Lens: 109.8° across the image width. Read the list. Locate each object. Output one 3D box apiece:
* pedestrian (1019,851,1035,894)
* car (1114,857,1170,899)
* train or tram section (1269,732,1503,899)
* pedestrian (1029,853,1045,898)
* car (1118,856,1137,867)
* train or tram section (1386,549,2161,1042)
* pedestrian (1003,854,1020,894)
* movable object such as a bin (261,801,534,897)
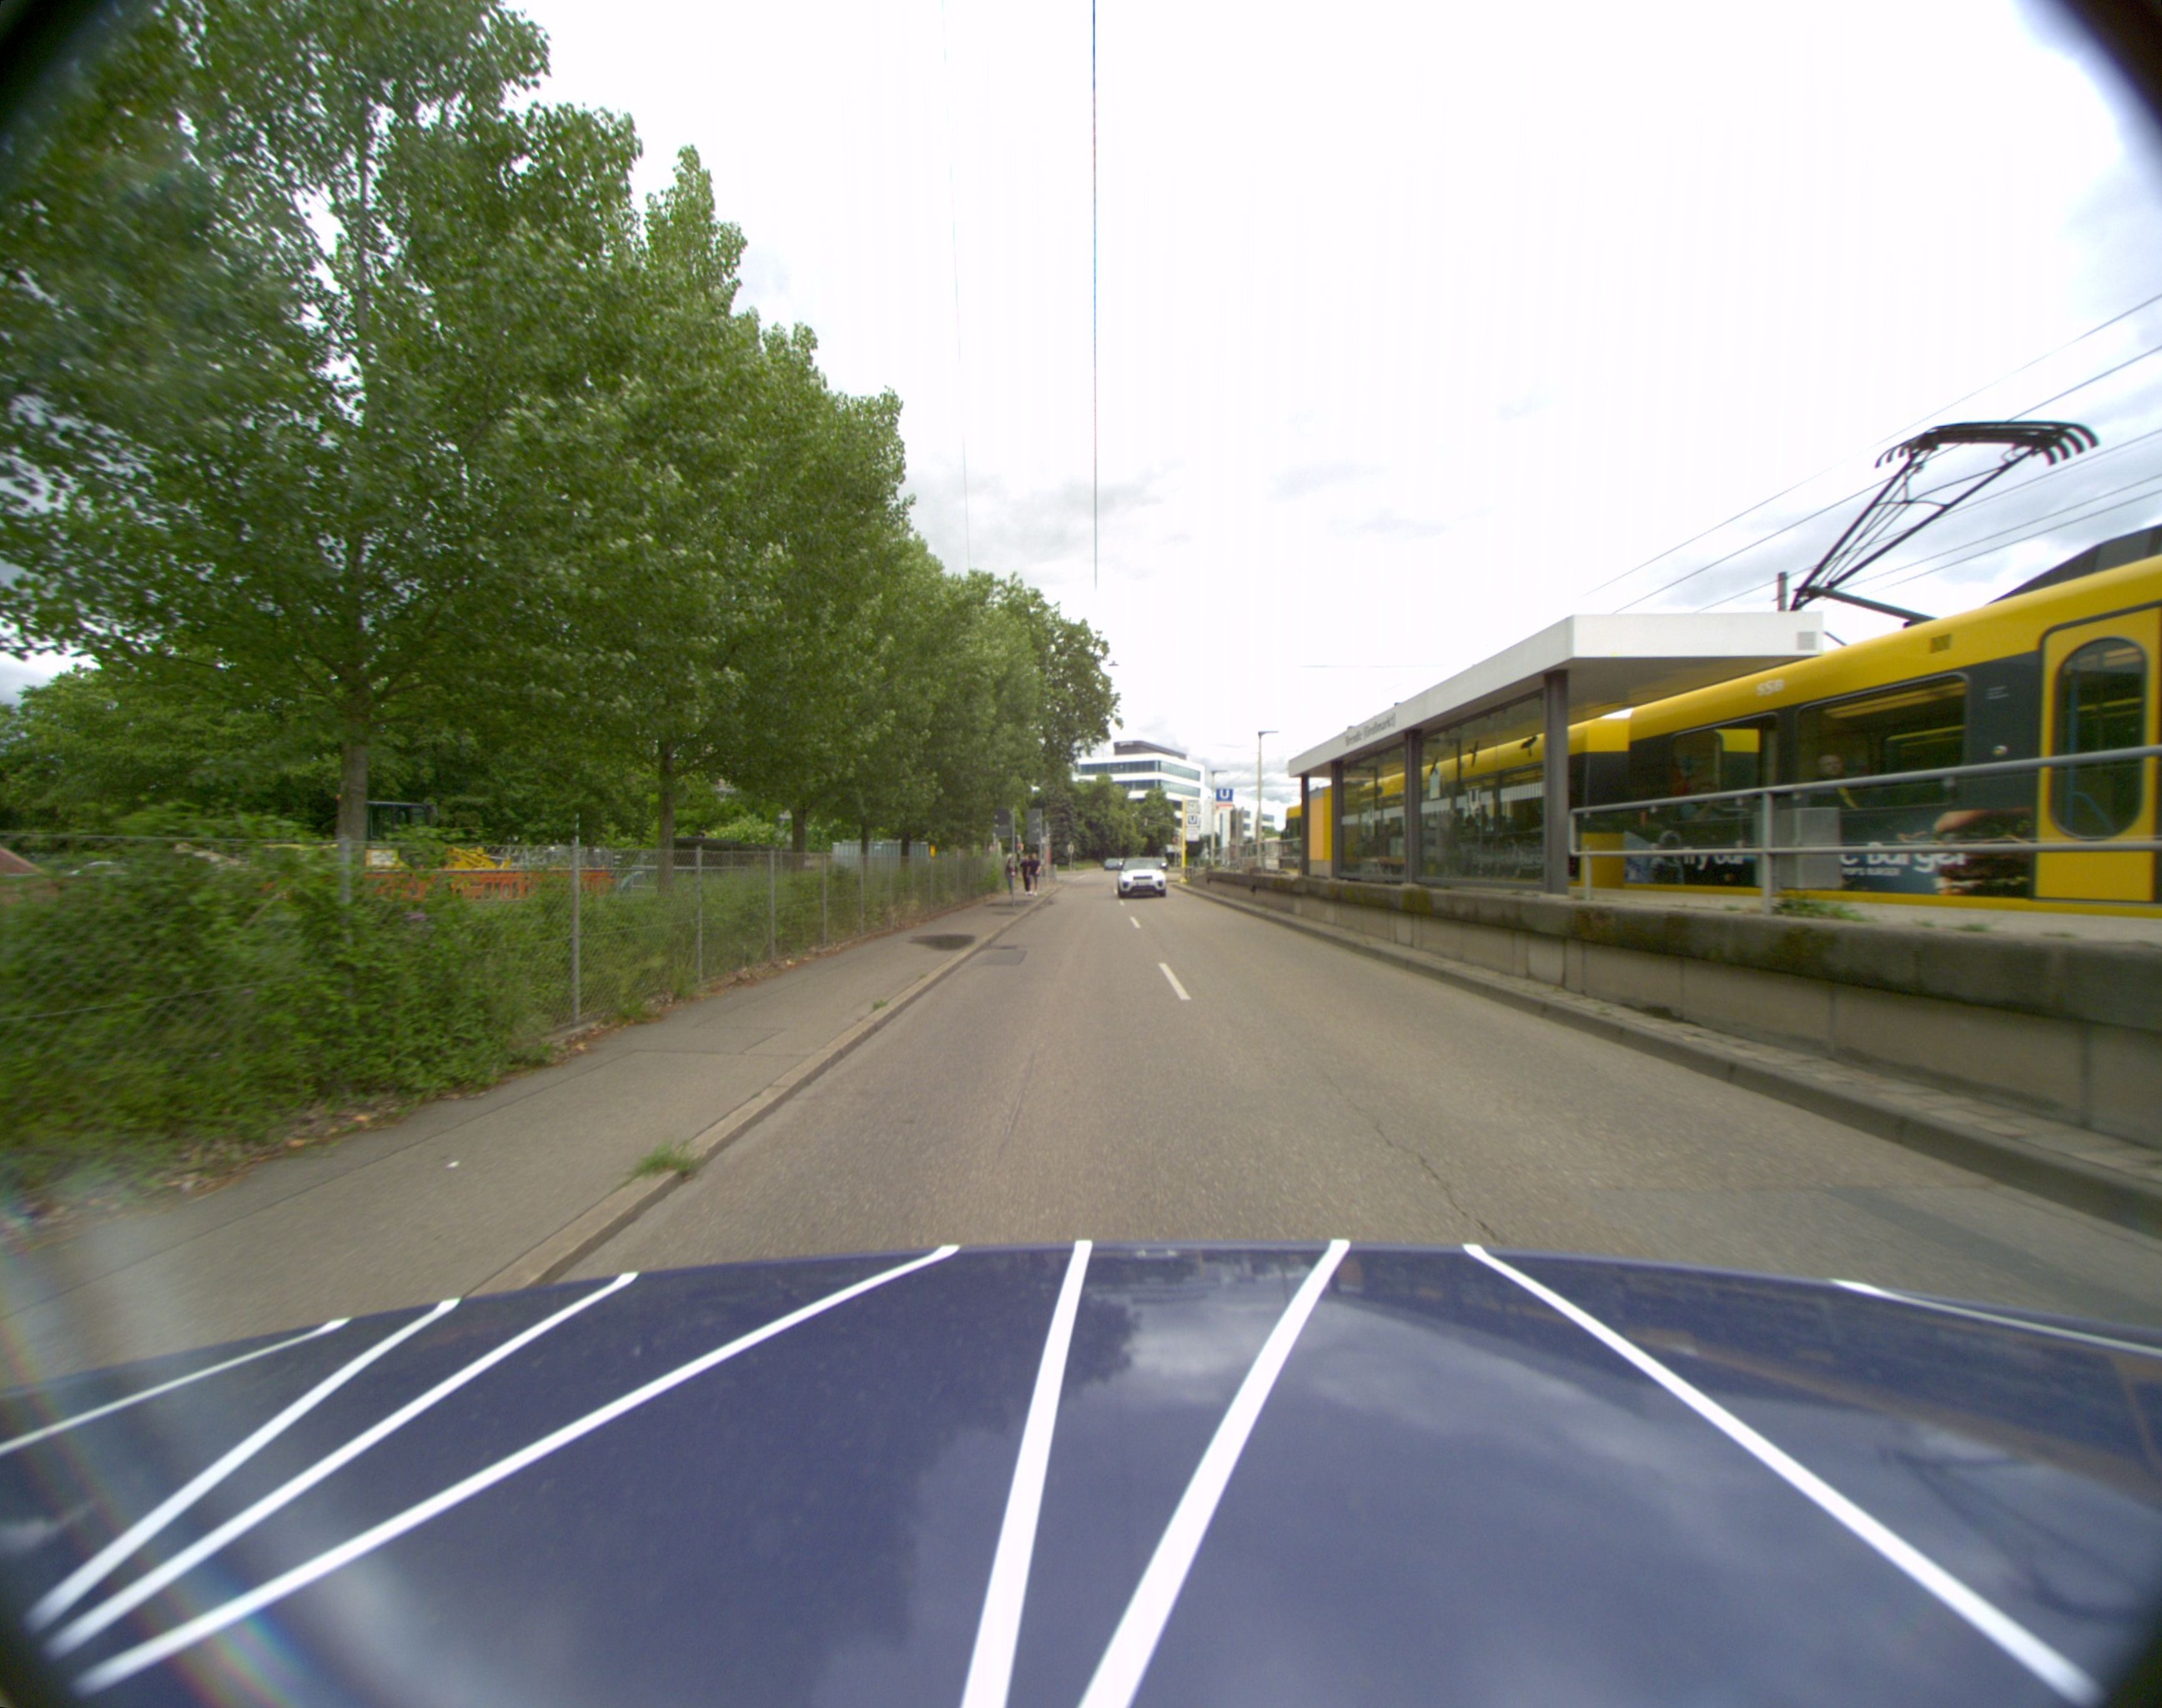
[{"bbox_3d":[-2.328,0.784,33.017,0.604,1.857,0.672,0,1,2],"label":"pedestrian"},{"bbox_3d":[2.488,0.977,31.728,1.916,1.560,4.113,-2,-1,0],"label":"car"},{"bbox_3d":[8.696,-0.824,23.947,2.747,3.943,11.914,0,-1,1],"label":"train or tram section"},{"bbox_3d":[-1.854,0.893,32.243,0.604,1.858,0.671,0,4,2],"label":"pedestrian"},{"bbox_3d":[6.110,0.963,99.501,1.746,1.418,4.170,-1,0,14],"label":"car"},{"bbox_3d":[8.528,-0.381,12.030,2.747,3.943,11.914,0,-1,1],"label":"train or tram section"},{"bbox_3d":[-3.007,0.879,32.938,0.604,1.681,0.671,0,4,2],"label":"pedestrian"},{"bbox_3d":[-16.045,-0.240,18.146,1.995,2.003,4.300,2,4,25],"label":"movable object such as a bin"}]
